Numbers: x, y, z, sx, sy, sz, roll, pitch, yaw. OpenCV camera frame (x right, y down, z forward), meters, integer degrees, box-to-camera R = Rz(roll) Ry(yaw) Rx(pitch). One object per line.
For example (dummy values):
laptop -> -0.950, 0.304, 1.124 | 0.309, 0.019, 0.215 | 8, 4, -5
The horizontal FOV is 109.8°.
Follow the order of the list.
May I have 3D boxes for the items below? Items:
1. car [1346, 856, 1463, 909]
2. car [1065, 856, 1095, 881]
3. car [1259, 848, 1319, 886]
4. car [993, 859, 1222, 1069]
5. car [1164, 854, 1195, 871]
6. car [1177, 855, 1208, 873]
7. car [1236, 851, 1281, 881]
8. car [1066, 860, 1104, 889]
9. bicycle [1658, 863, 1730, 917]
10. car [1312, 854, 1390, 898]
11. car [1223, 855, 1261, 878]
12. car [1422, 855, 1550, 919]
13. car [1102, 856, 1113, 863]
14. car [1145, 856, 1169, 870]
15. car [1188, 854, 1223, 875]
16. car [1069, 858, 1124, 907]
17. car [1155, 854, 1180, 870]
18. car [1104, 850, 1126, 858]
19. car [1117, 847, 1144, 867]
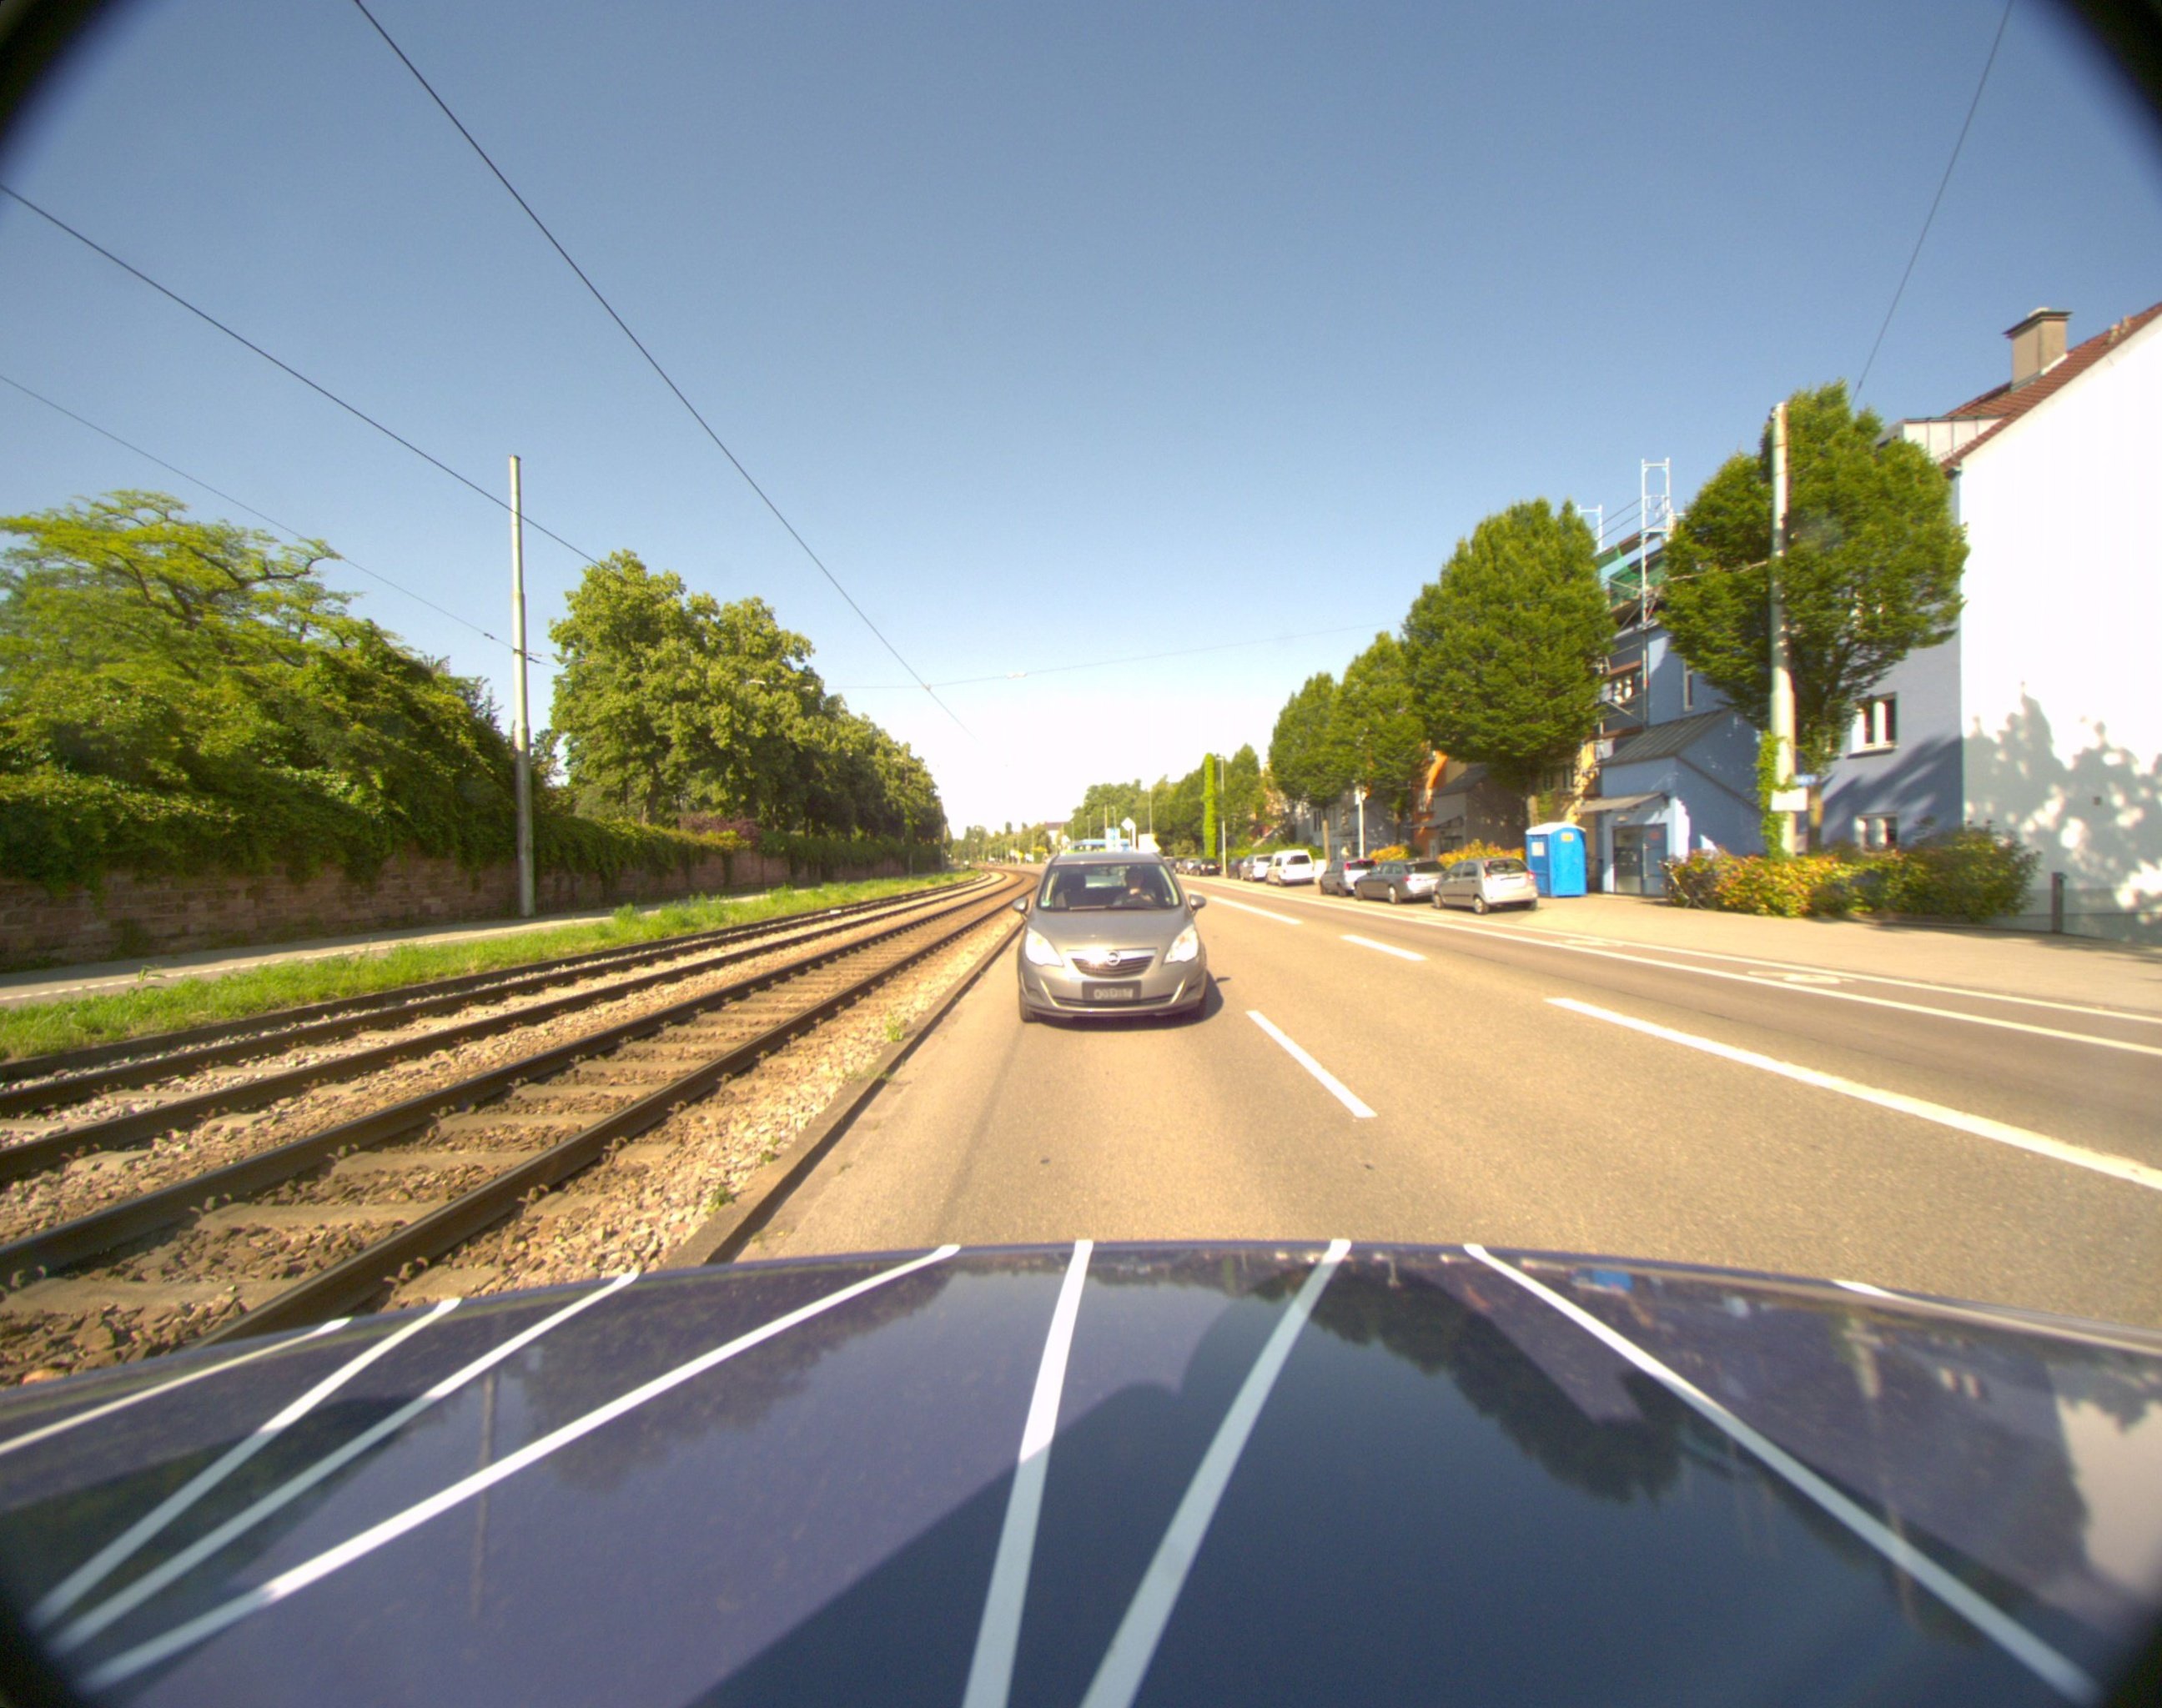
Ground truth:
car -> 11.063, 0.902, 26.389 | 1.753, 1.502, 4.754 | -5, 0, -2
car -> -0.108, 0.950, 52.698 | 1.710, 1.581, 3.998 | -3, 0, -4
car -> 11.310, 0.677, 41.668 | 1.767, 1.835, 4.579 | -6, 0, -1
car -> 0.271, 0.874, 7.807 | 1.730, 1.574, 3.764 | -2, 0, 2
car -> 9.758, 0.829, 75.831 | 1.768, 1.565, 4.433 | -2, 0, -10
car -> 10.294, 0.889, 70.492 | 1.717, 1.463, 4.841 | -3, 1, -5
car -> 11.134, 0.719, 47.893 | 1.672, 1.691, 4.824 | -3, 0, 0
car -> 0.138, 1.002, 38.842 | 1.579, 1.306, 3.998 | -3, 0, -4
bicycle -> 14.323, 0.819, 17.814 | 0.444, 1.147, 1.785 | -1, 1, 7
car -> 11.111, 0.875, 31.558 | 1.767, 1.530, 3.981 | -6, 0, 1
car -> 11.246, 0.824, 53.283 | 1.620, 1.457, 4.057 | -3, 0, -2
car -> 11.242, 0.857, 21.379 | 1.605, 1.486, 3.509 | -5, 0, 0
car -> 6.096, 1.211, 172.099 | 1.742, 1.482, 4.271 | -1, 0, -8
car -> 8.649, 1.017, 86.997 | 1.657, 1.416, 4.710 | -1, 0, -7
car -> 10.526, 0.864, 64.612 | 1.871, 1.535, 4.908 | -3, 0, -3
car -> 0.495, 0.934, 26.486 | 1.710, 1.487, 4.000 | -3, 0, 0
car -> 9.276, 0.873, 81.697 | 1.768, 1.565, 4.159 | -1, 1, -6
car -> 8.447, -0.048, 189.633 | 5.086, 1.929, 1.856 | -1, 0, -5
car -> 6.635, 0.443, 101.815 | 2.159, 2.443, 6.179 | -3, 0, -9
